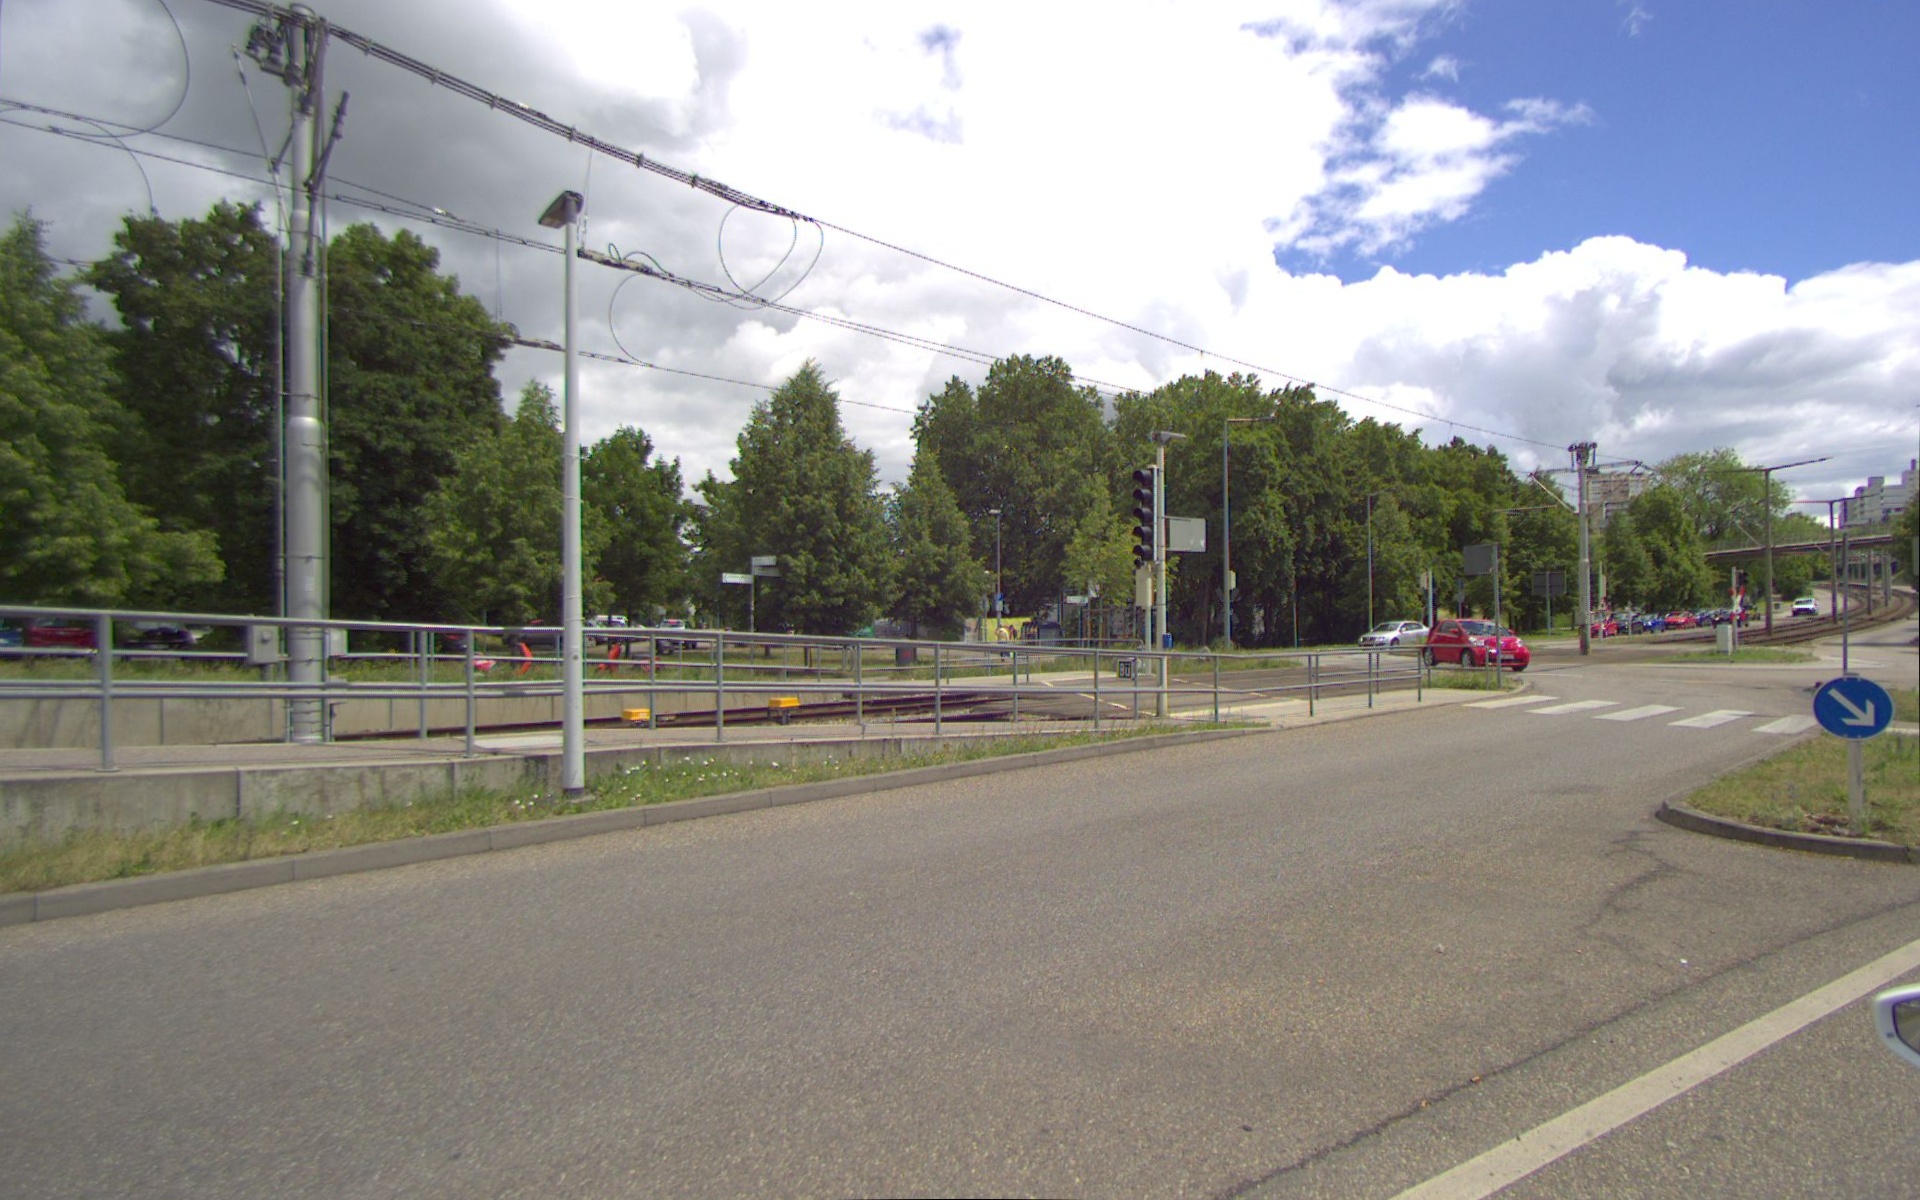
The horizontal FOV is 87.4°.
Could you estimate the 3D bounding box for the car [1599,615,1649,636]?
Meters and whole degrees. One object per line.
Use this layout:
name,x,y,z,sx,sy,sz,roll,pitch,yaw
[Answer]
car,47.228,1.772,71.420,3.498,1.444,1.866,1,-1,-37

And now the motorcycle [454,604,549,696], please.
motorcycle,-10.532,1.128,23.084,1.958,2.040,0.830,0,-1,-29

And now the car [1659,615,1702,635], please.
car,58.456,2.046,81.485,3.967,1.582,1.897,0,-1,-40

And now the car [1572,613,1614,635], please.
car,42.826,1.617,67.963,3.570,1.388,1.514,1,-1,-42

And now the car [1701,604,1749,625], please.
car,61.584,1.185,80.866,4.379,1.618,1.979,1,-2,-37

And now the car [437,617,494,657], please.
car,-24.183,1.758,49.055,1.979,1.859,3.963,-1,0,-33

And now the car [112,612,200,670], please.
car,-25.714,1.250,32.090,1.960,1.706,3.951,0,-1,-42

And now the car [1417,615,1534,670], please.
car,14.943,1.200,29.270,1.693,1.523,2.964,0,-1,-6

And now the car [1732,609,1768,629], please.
car,78.307,1.855,99.534,3.966,1.888,1.978,0,0,-39

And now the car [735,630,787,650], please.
car,-12.094,2.434,61.158,3.049,1.096,1.414,-1,0,-10

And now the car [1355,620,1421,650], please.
car,21.273,1.712,49.855,1.856,1.368,3.810,-2,-2,42

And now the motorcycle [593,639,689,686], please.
motorcycle,-7.964,1.541,25.141,2.193,1.095,0.724,1,-2,-35

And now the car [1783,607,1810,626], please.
car,89.679,1.767,107.649,1.972,2.040,3.976,-1,-1,43

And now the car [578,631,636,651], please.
car,-24.007,2.775,68.313,3.428,1.270,1.602,-1,0,-8

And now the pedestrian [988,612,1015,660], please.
pedestrian,1.791,1.534,43.095,0.810,2.040,0.958,-1,0,-23

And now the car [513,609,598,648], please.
car,-22.292,1.530,55.440,3.926,2.040,1.998,-1,0,-8

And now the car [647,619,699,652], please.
car,-15.931,1.942,55.948,1.962,1.660,4.136,-1,0,-5

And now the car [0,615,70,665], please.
car,-35.267,1.471,37.813,2.168,1.751,3.960,-1,-1,-35

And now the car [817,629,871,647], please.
car,-8.685,2.845,75.173,3.927,1.243,2.047,-1,0,-9

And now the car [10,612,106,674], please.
car,-27.255,1.246,30.388,2.038,1.728,3.603,0,-1,-42

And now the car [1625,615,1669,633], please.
car,51.114,1.791,74.693,3.537,1.271,1.792,-1,-1,-39

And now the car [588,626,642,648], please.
car,-25.145,2.686,73.276,3.519,1.525,1.513,-1,0,-8
